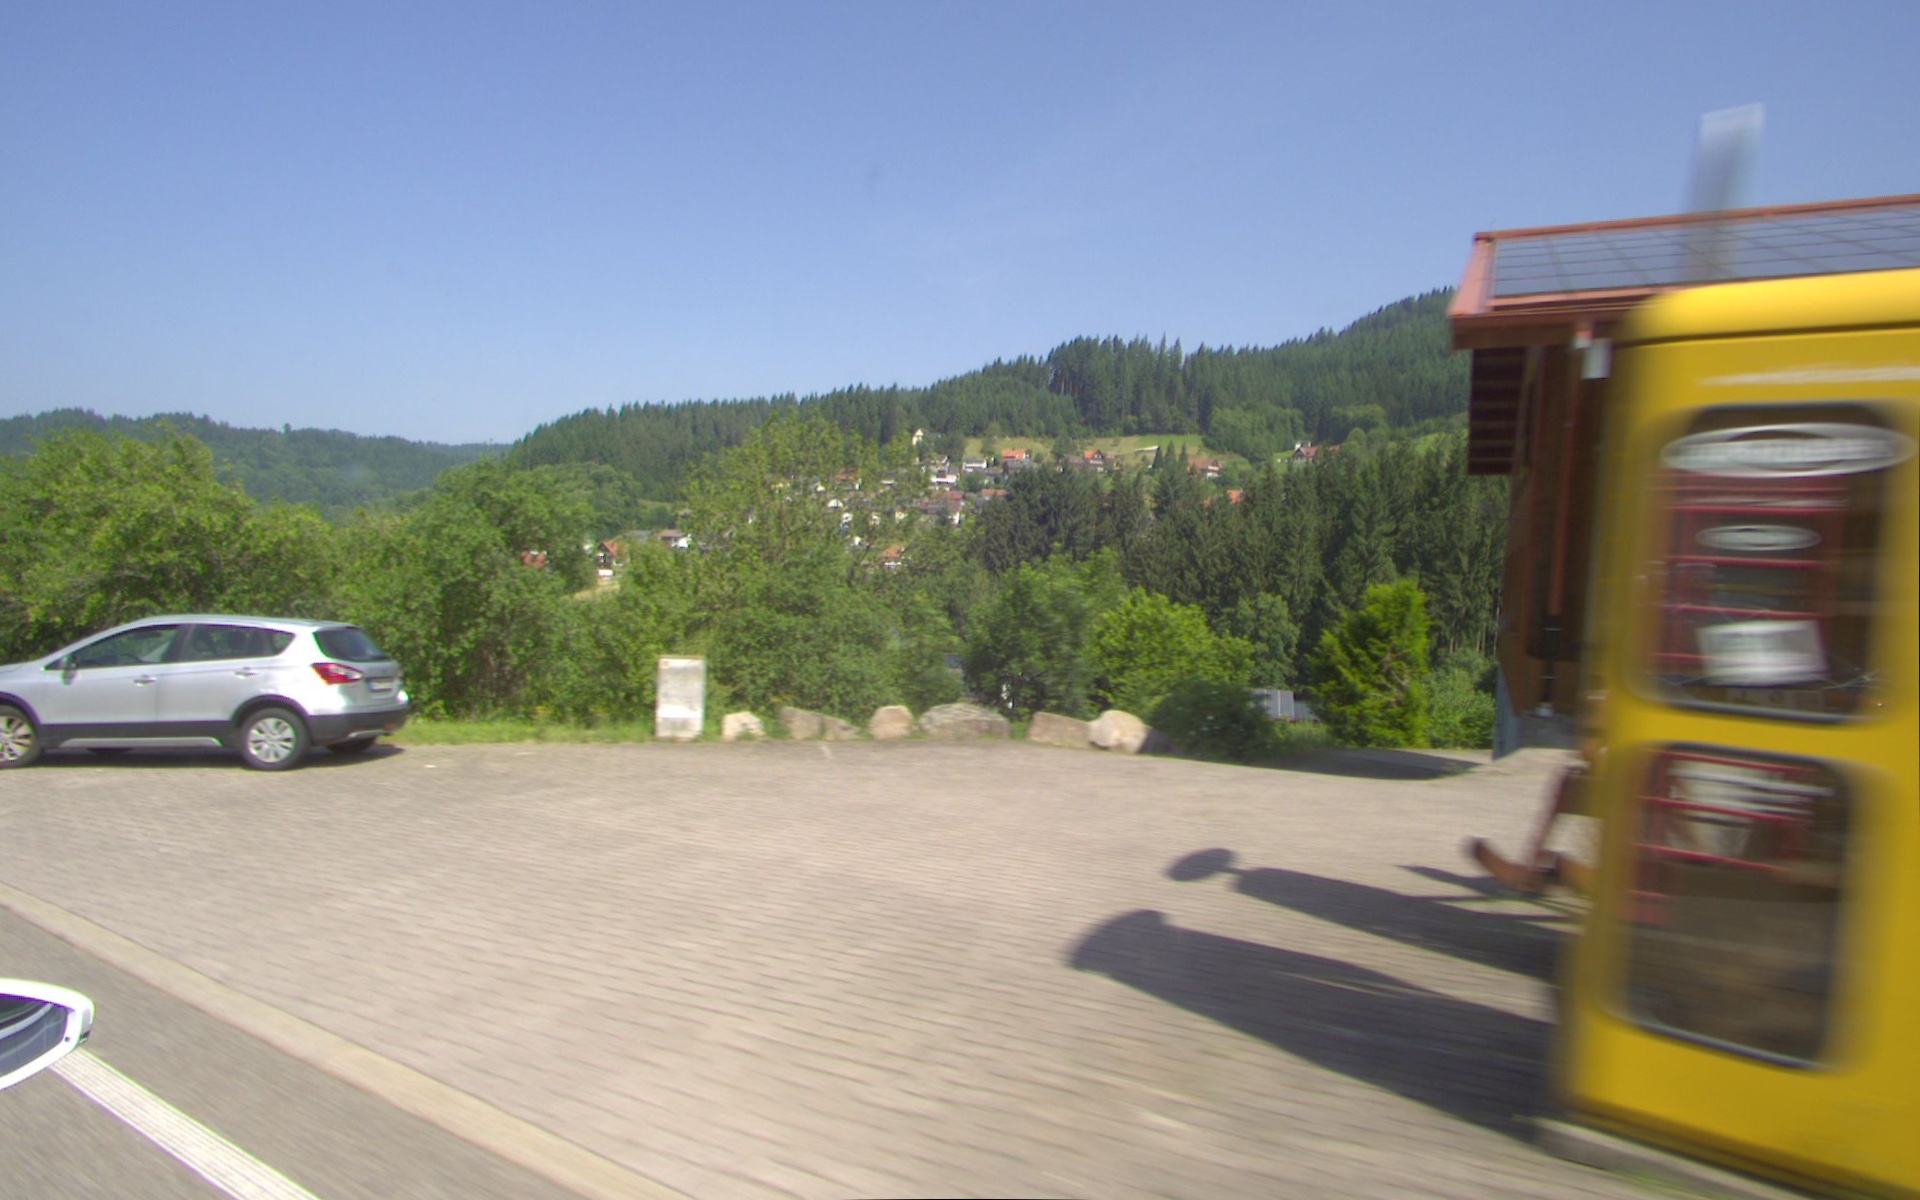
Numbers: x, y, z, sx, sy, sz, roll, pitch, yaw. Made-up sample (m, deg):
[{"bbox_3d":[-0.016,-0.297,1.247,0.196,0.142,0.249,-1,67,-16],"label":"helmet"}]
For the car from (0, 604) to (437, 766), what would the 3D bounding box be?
[{"bbox_3d":[-8.485,0.890,11.057,4.377,1.591,1.905,1,-1,-6],"label":"car"}]
